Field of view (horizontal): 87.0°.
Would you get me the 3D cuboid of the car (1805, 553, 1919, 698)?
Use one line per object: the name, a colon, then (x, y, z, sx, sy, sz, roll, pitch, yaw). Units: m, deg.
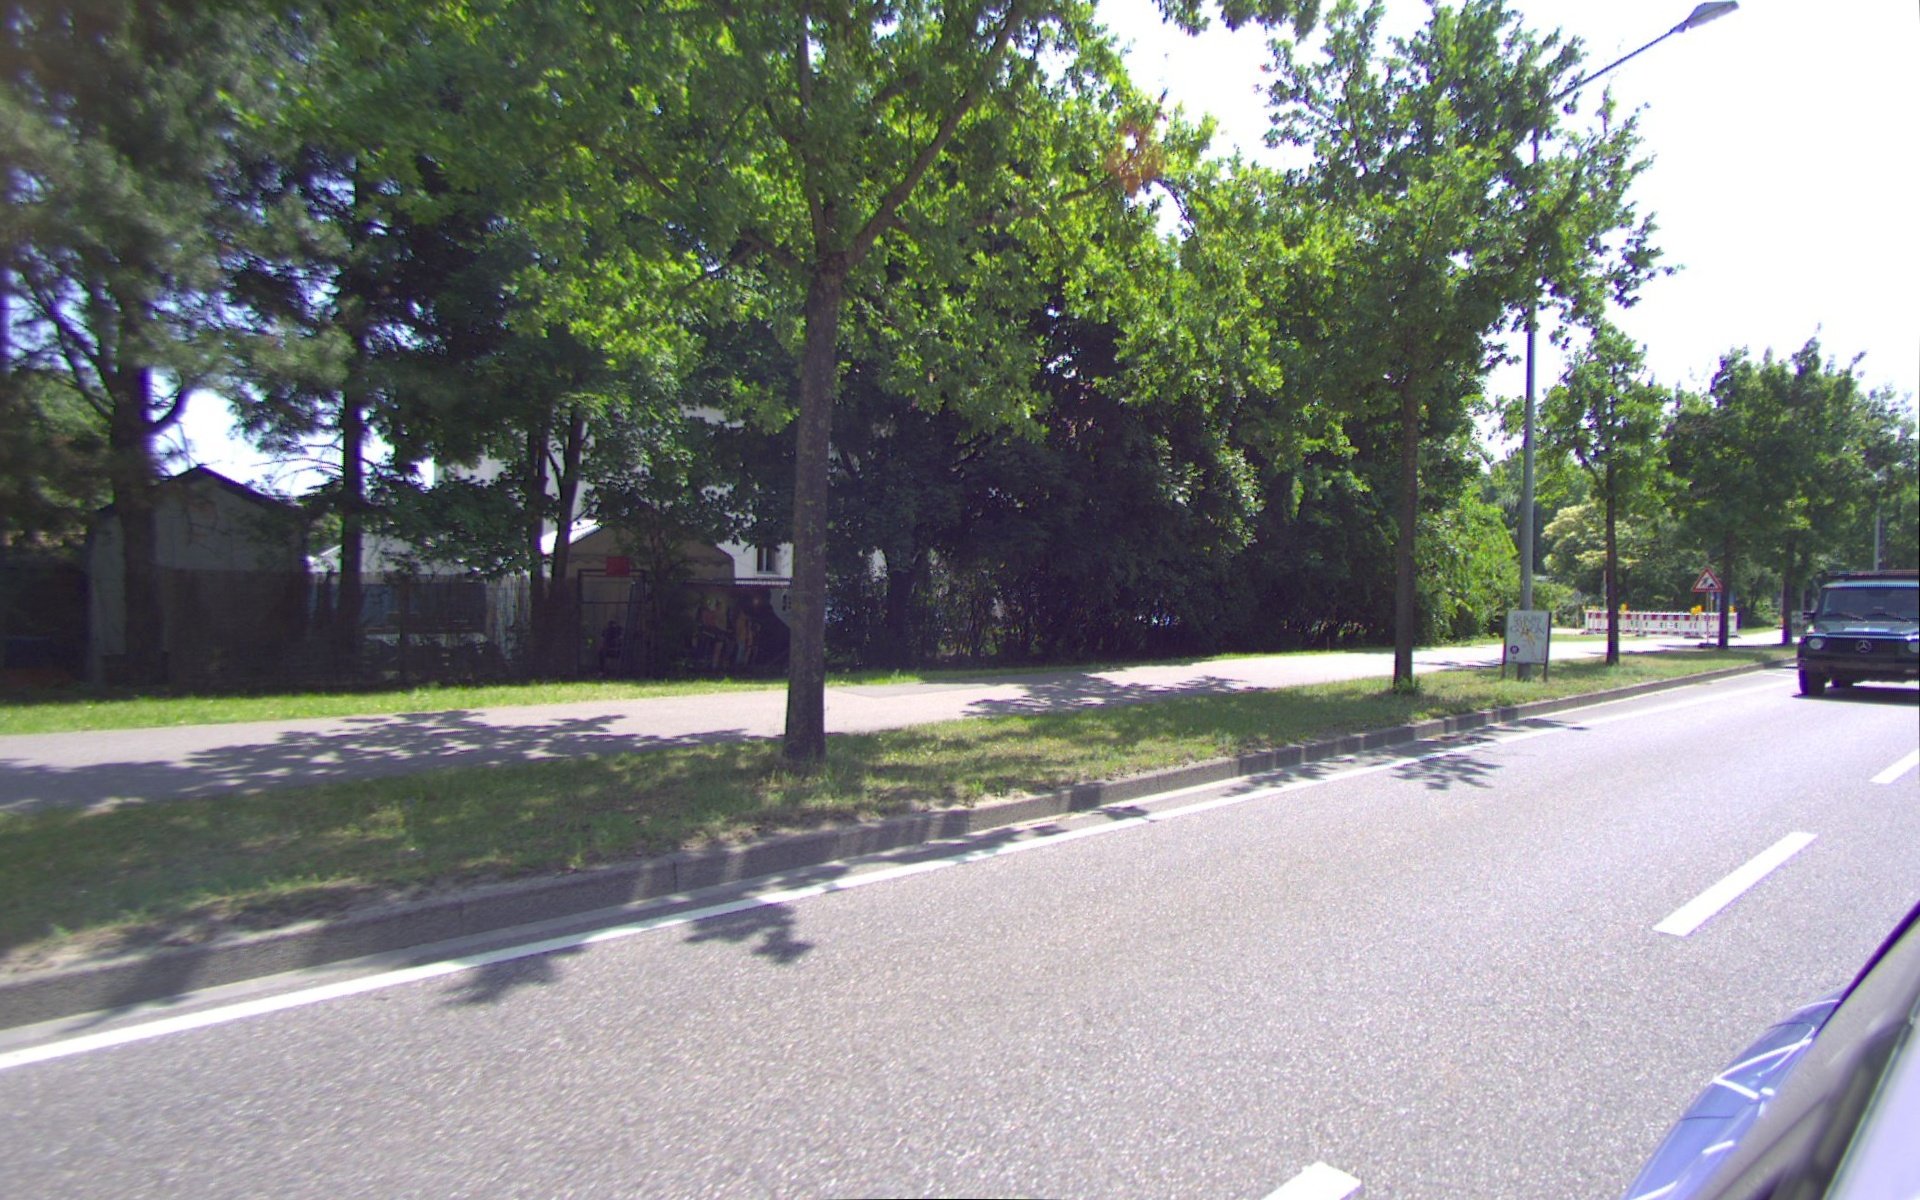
car: (15.800, 0.372, 17.034, 4.480, 2.180, 1.839, 0, 1, -42)
